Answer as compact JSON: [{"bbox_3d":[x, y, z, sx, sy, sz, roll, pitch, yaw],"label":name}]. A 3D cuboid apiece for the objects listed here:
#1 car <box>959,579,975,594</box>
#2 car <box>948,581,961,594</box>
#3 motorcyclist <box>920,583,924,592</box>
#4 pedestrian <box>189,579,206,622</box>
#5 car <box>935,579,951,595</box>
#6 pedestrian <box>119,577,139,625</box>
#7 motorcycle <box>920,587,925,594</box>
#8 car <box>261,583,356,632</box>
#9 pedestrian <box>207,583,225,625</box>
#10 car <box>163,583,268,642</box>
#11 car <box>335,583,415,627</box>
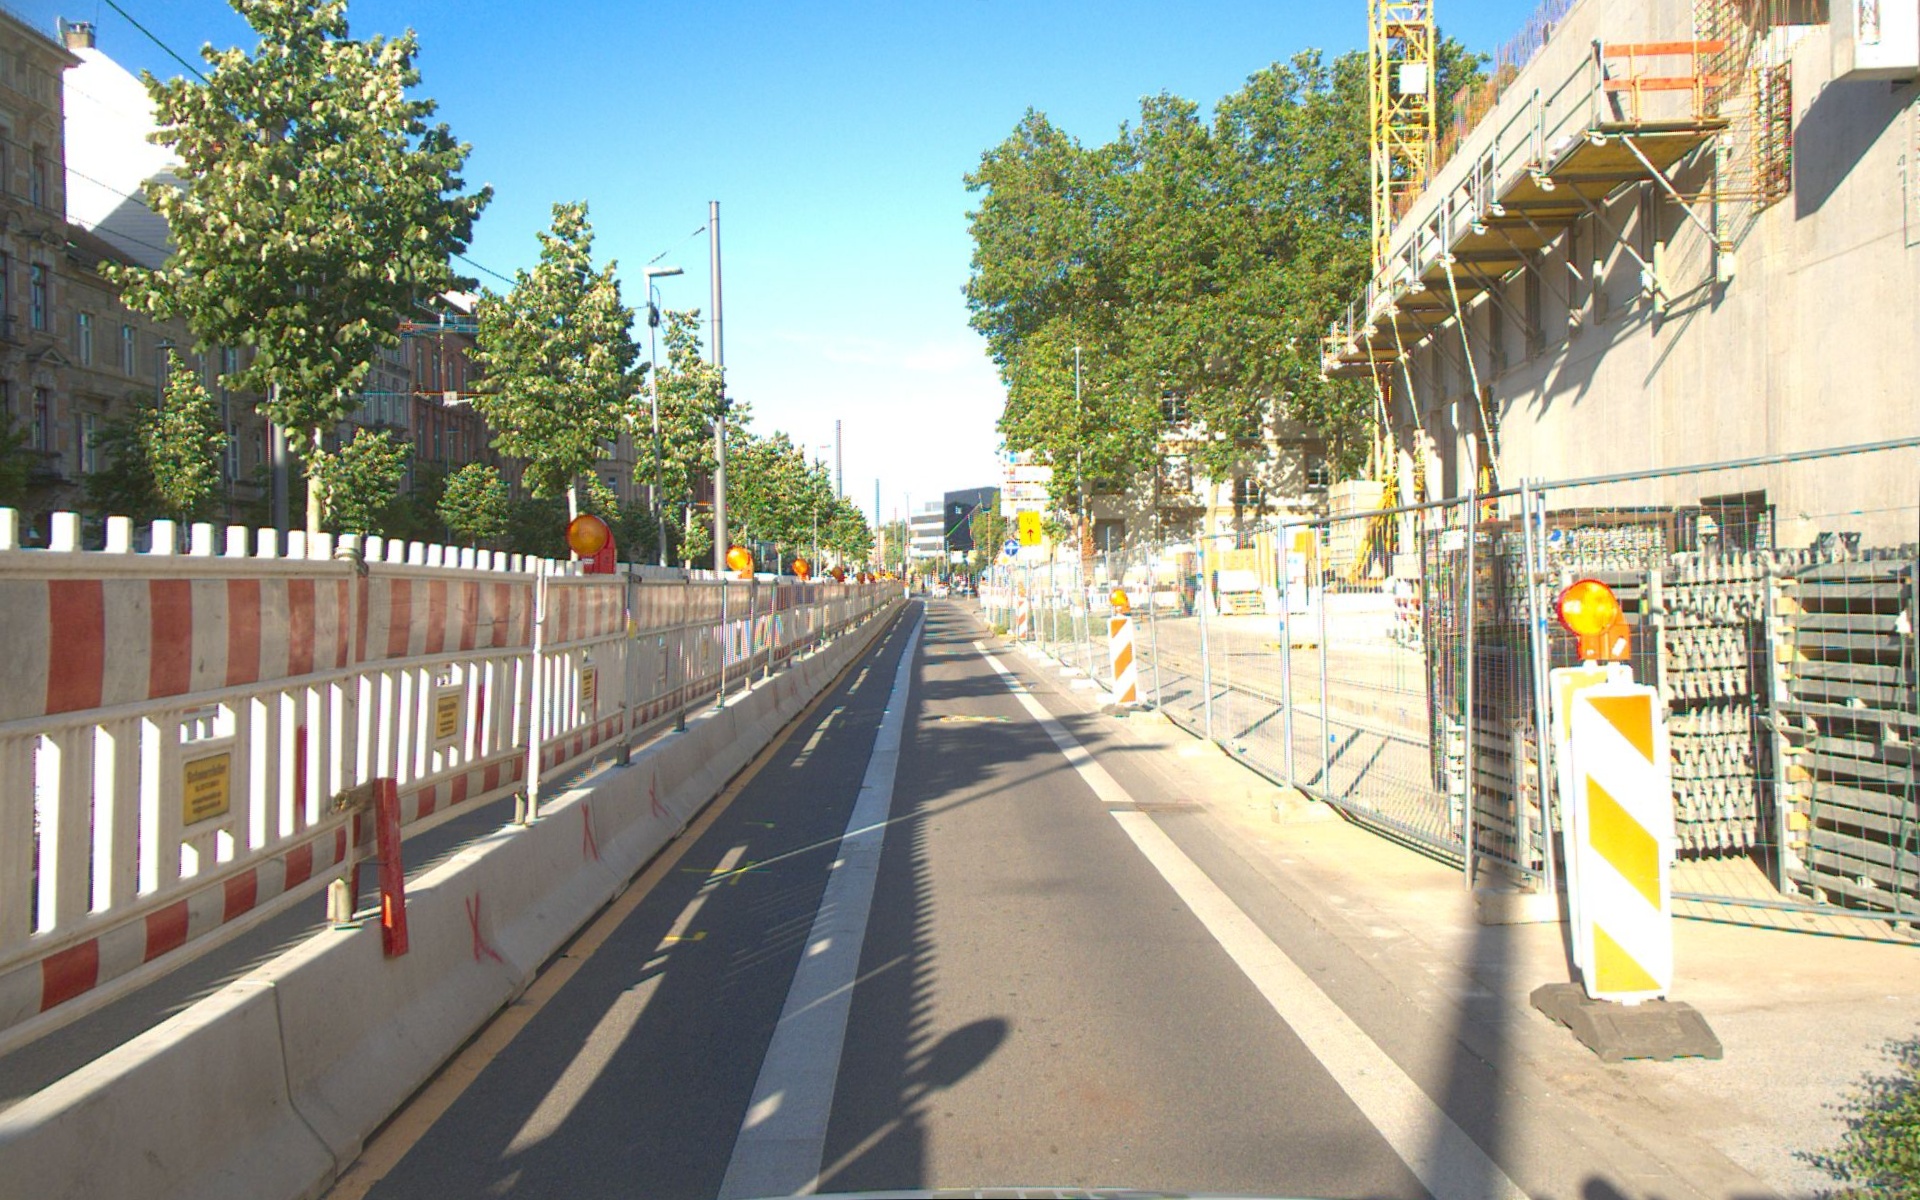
[{"bbox_3d":[0.897,-1.706,209.162,1.845,1.875,3.667,-1,1,-1],"label":"car"},{"bbox_3d":[-0.836,-1.901,243.612,1.845,1.875,3.667,-1,1,-1],"label":"car"},{"bbox_3d":[-5.420,-1.854,237.351,0.618,1.285,0.605,-1,1,-1],"label":"motorcyclist"},{"bbox_3d":[-28.089,0.020,60.961,0.397,1.561,0.435,1,0,-1],"label":"pedestrian"},{"bbox_3d":[-1.976,-1.494,188.937,1.845,1.875,3.667,-1,1,-1],"label":"car"},{"bbox_3d":[-27.789,0.035,55.315,0.452,1.612,0.434,1,0,-8],"label":"pedestrian"},{"bbox_3d":[-5.411,-1.348,237.336,0.618,0.912,1.620,-1,1,-1],"label":"motorcycle"},{"bbox_3d":[-22.770,0.220,57.986,1.534,1.590,4.714,-1,1,-1],"label":"car"},{"bbox_3d":[-27.306,0.144,60.706,0.397,1.559,0.435,1,0,-1],"label":"pedestrian"},{"bbox_3d":[-22.837,0.353,50.888,1.534,1.704,3.808,-1,1,-1],"label":"car"},{"bbox_3d":[-22.772,0.175,64.555,1.535,1.590,4.713,-1,1,-1],"label":"car"}]
